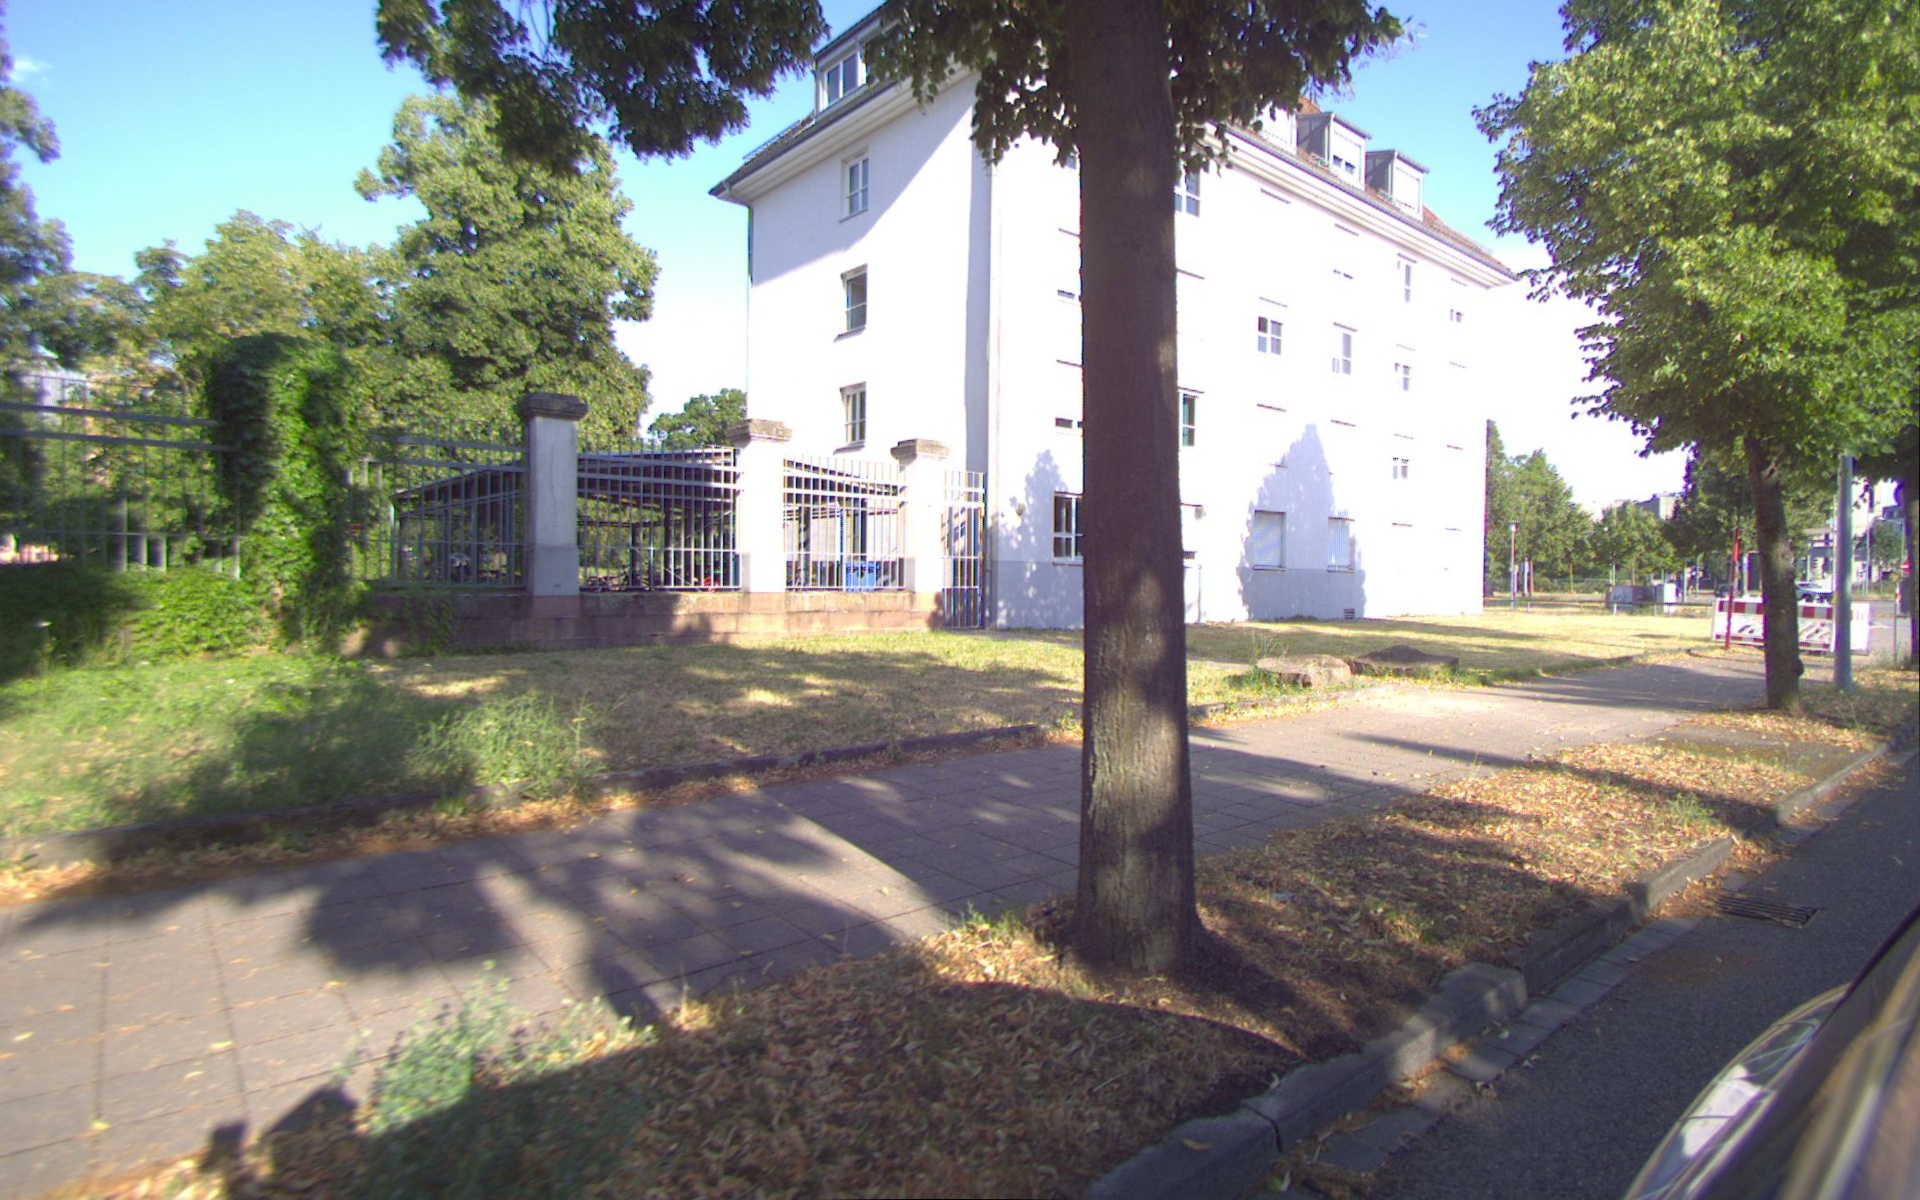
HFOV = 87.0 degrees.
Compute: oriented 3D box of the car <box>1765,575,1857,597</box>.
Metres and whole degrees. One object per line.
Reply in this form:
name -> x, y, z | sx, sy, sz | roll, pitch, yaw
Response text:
car -> 57.441, -0.963, 68.431 | 2.052, 1.401, 4.597 | 0, 2, -7
